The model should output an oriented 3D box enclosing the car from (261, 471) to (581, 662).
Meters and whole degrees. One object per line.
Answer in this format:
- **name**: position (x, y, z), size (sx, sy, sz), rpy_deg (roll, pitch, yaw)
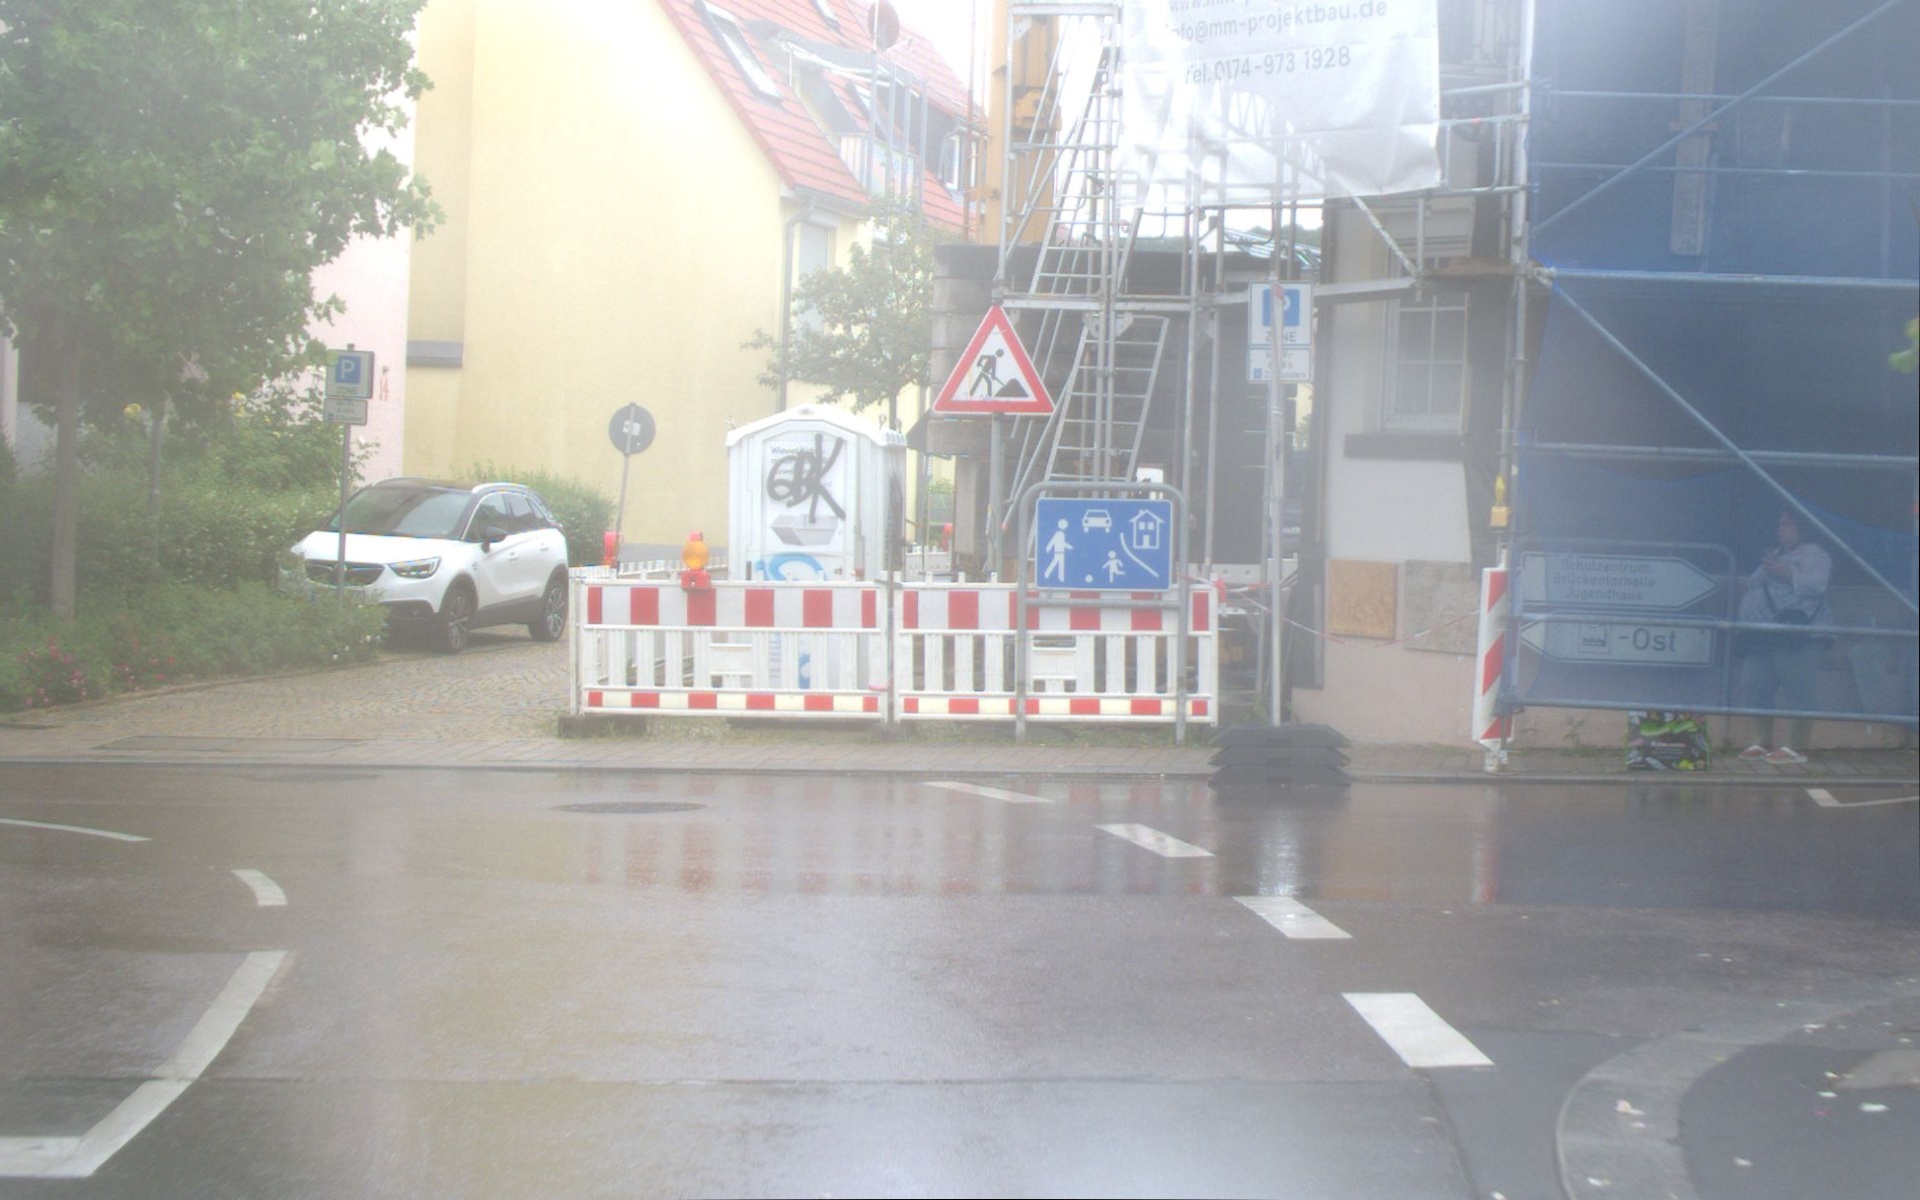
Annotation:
- **car**: position (-5.180, -0.373, 33.524), size (1.601, 1.672, 3.936), rpy_deg (3, 3, 14)
